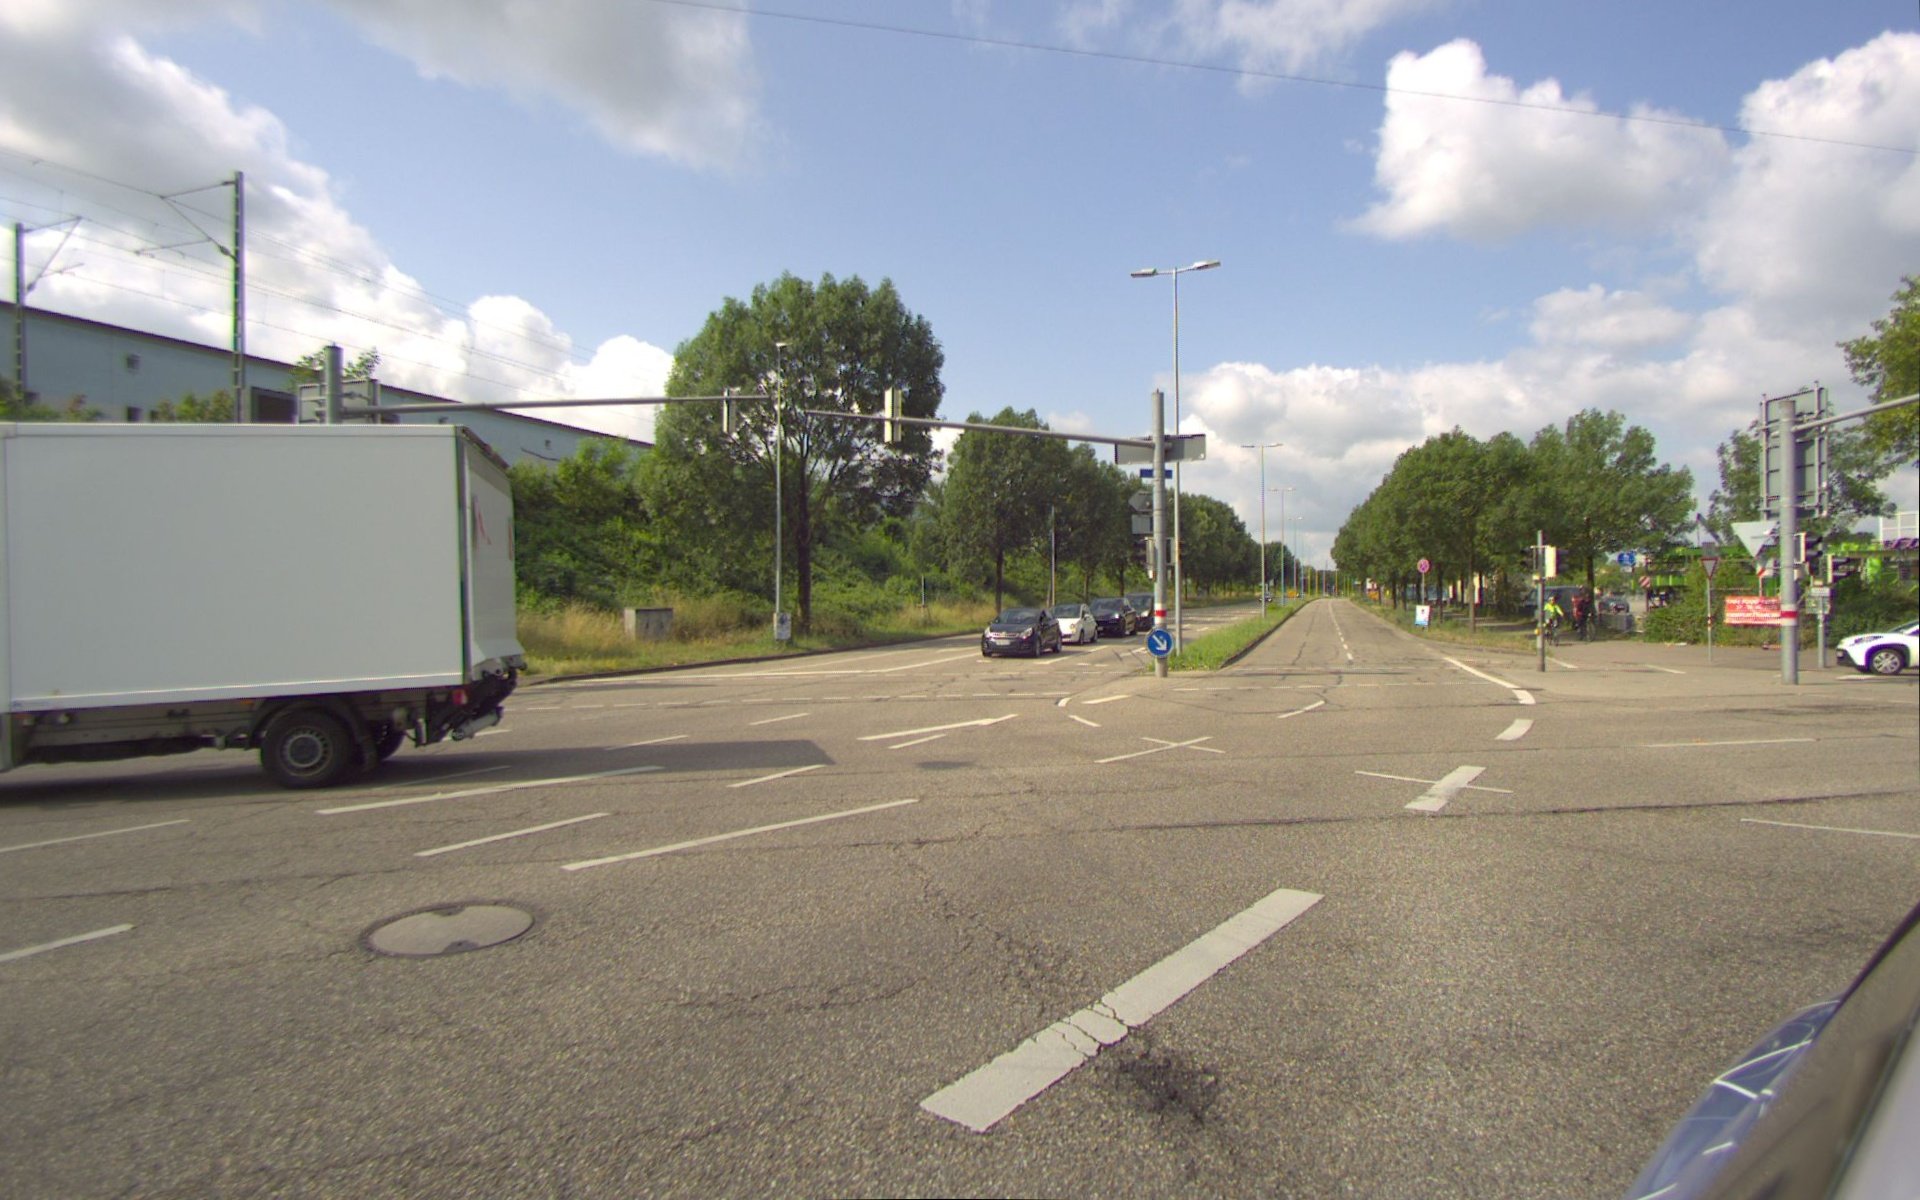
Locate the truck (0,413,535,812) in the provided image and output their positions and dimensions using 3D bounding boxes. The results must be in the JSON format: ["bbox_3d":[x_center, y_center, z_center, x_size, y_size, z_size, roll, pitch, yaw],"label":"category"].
[{"bbox_3d":[-7.297,0.092,9.396,5.901,3.161,2.459,-2,-1,-17],"label":"truck"}]

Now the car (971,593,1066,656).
[{"bbox_3d":[1.840,0.679,30.685,1.722,1.537,3.802,3,4,22],"label":"car"}]

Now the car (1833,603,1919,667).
[{"bbox_3d":[23.696,0.867,24.341,3.765,1.498,1.732,1,-1,29],"label":"car"}]

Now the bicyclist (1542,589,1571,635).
[{"bbox_3d":[22.544,0.452,38.263,0.667,1.700,0.834,-1,0,13],"label":"bicyclist"}]

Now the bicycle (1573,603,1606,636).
[{"bbox_3d":[24.758,0.746,39.827,0.783,1.211,2.215,-1,1,24],"label":"bicycle"}]

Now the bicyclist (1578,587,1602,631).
[{"bbox_3d":[24.702,0.338,39.698,0.670,1.707,0.748,-1,0,25],"label":"bicyclist"}]

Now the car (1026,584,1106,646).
[{"bbox_3d":[3.914,0.473,36.847,1.952,1.769,4.002,4,5,19],"label":"car"}]

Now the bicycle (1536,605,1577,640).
[{"bbox_3d":[22.531,0.827,38.250,0.667,1.211,2.224,-1,1,13],"label":"bicycle"}]

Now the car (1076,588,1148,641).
[{"bbox_3d":[6.490,0.550,42.855,1.801,1.662,4.769,4,6,23],"label":"car"}]

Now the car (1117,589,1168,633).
[{"bbox_3d":[8.916,0.480,49.222,1.623,1.653,4.181,4,6,20],"label":"car"}]
